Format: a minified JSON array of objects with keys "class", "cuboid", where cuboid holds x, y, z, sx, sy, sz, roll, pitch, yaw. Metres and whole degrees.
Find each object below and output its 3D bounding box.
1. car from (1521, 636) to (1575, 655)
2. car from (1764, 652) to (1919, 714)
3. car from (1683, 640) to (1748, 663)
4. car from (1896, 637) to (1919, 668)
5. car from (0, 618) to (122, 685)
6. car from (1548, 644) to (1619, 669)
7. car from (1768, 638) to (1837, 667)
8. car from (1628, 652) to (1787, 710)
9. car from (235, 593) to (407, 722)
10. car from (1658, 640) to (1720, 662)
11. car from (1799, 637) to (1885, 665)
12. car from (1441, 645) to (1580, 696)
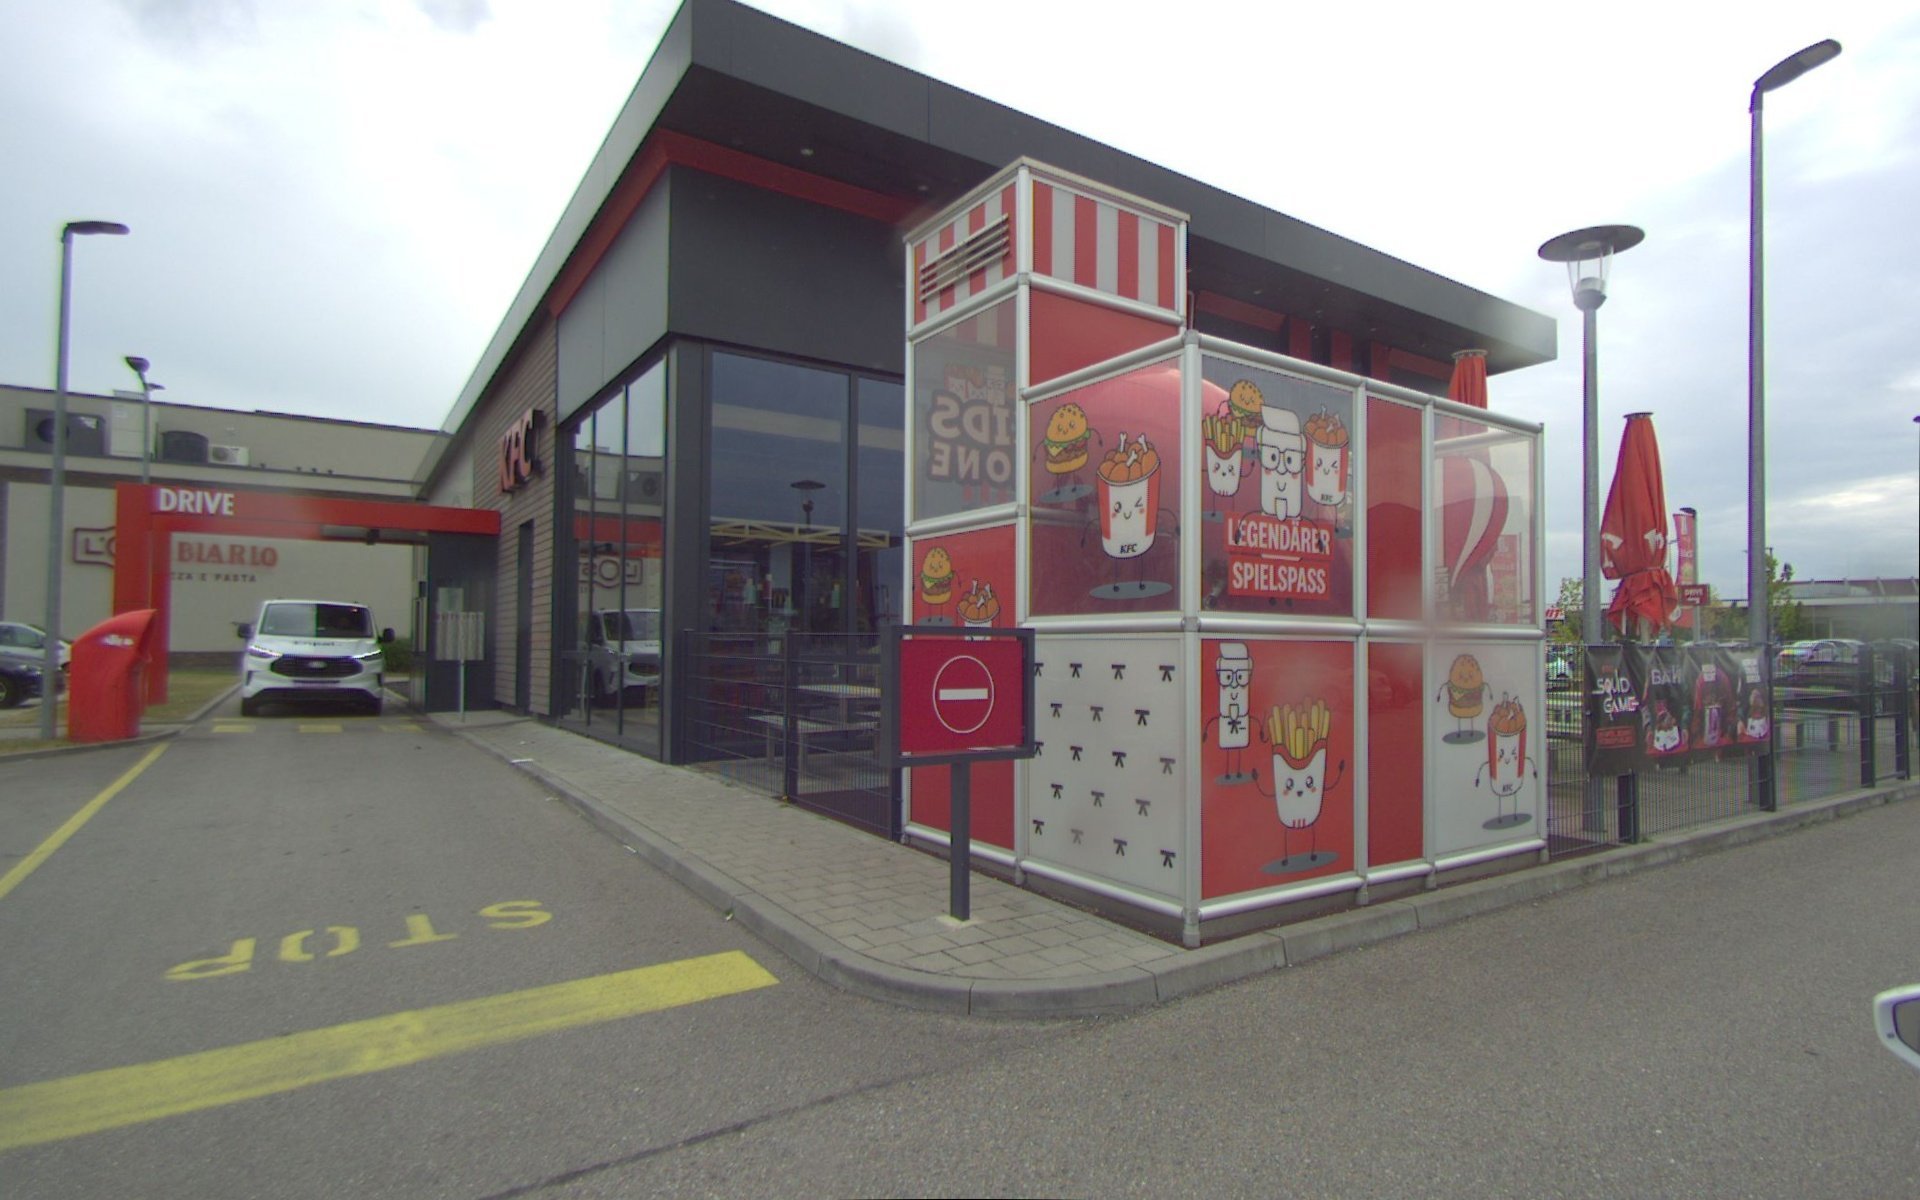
[{"class":"car","cuboid":[51.338,3.962,87.696,3.995,1.560,1.990,0,-2,-22]},{"class":"car","cuboid":[22.624,2.130,25.733,4.023,1.430,1.874,4,-3,-30]},{"class":"car","cuboid":[54.149,3.677,71.985,3.992,1.560,1.765,0,-2,-19]},{"class":"car","cuboid":[57.911,3.067,59.447,4.254,1.795,1.923,0,-2,-19]},{"class":"car","cuboid":[-23.318,1.263,24.820,3.804,1.594,1.809,0,-2,-34]},{"class":"car","cuboid":[37.363,3.373,60.281,1.412,1.389,3.442,0,-2,-22]},{"class":"car","cuboid":[55.784,3.464,66.498,4.265,1.795,1.987,0,-2,-27]},{"class":"car","cuboid":[21.001,2.277,28.180,4.687,1.475,1.897,4,-3,-30]},{"class":"car","cuboid":[-11.372,0.986,18.019,2.256,1.956,5.079,2,-3,-32]},{"class":"car","cuboid":[53.940,3.752,74.347,3.992,1.560,1.765,0,-2,-19]},{"class":"car","cuboid":[60.009,3.443,68.428,1.965,1.795,3.993,-1,-2,-11]},{"class":"car","cuboid":[19.165,2.455,34.956,4.482,1.561,1.915,3,-3,-23]}]
